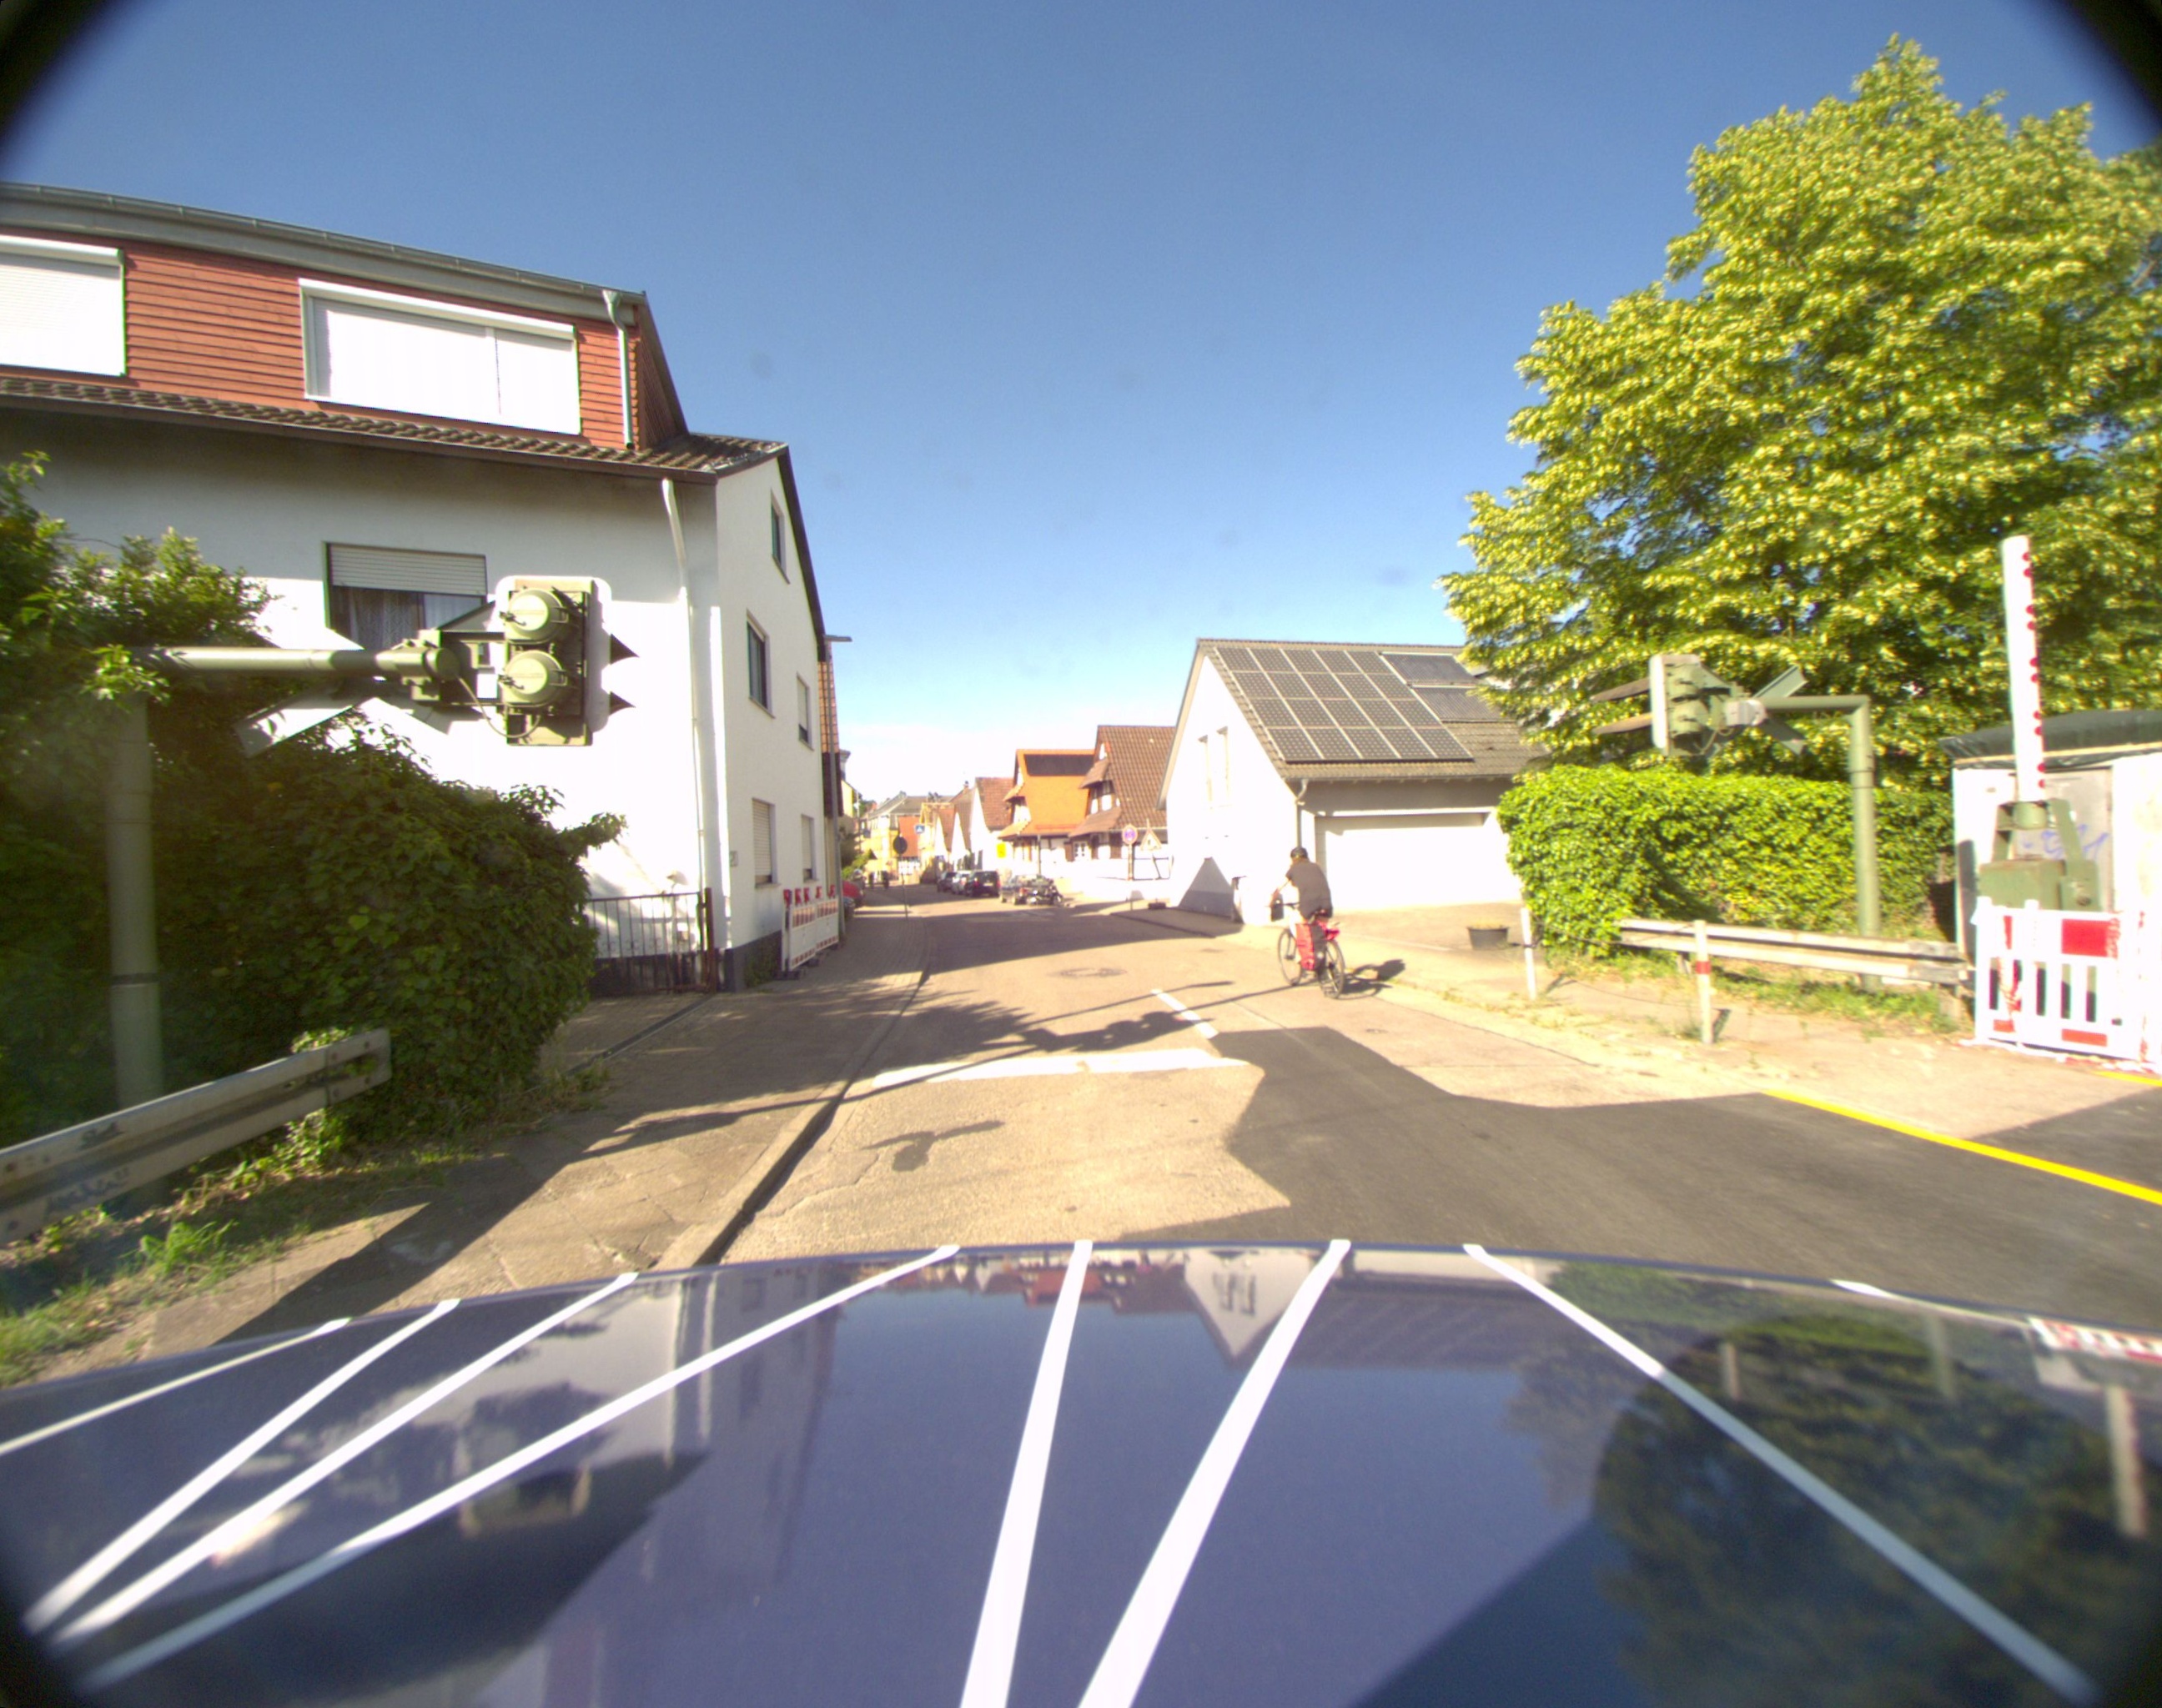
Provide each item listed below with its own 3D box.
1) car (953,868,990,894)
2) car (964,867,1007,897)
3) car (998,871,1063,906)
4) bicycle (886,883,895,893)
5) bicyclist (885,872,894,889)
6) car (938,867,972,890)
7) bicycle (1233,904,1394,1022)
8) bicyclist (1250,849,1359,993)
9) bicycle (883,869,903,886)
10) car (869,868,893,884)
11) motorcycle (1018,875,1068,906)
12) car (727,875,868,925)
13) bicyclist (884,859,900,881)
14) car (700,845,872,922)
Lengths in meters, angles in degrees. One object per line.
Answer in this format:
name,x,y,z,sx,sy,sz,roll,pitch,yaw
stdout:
car,-7.393,1.747,51.060,1.823,1.557,4.162,-2,0,-17
car,-5.850,1.655,45.992,1.791,1.595,4.355,-2,0,-17
car,-2.428,1.532,35.048,1.852,1.398,5.029,-1,0,-17
bicycle,-17.983,3.185,71.684,0.625,0.774,1.909,-5,2,-19
bicyclist,-18.042,2.503,71.693,0.611,1.525,0.654,-5,2,-19
car,-9.564,1.826,57.476,1.749,1.604,3.993,-2,0,-20
bicycle,2.587,1.173,8.767,0.886,0.999,2.061,-3,1,-11
bicyclist,2.562,0.728,8.800,0.851,1.532,0.872,-3,1,-11
bicycle,-19.866,2.453,80.195,1.259,1.543,3.992,-6,2,-24
car,-25.821,2.803,98.083,1.884,1.870,4.825,-1,0,-28
motorcycle,-1.576,1.538,31.675,1.990,1.224,0.628,-2,0,27
car,-9.705,1.542,26.277,4.392,1.478,1.837,-1,0,-19
bicyclist,-19.927,1.679,80.170,1.259,2.295,1.240,-6,2,-25
car,-10.992,1.026,28.637,5.828,2.639,1.964,-1,1,-21
